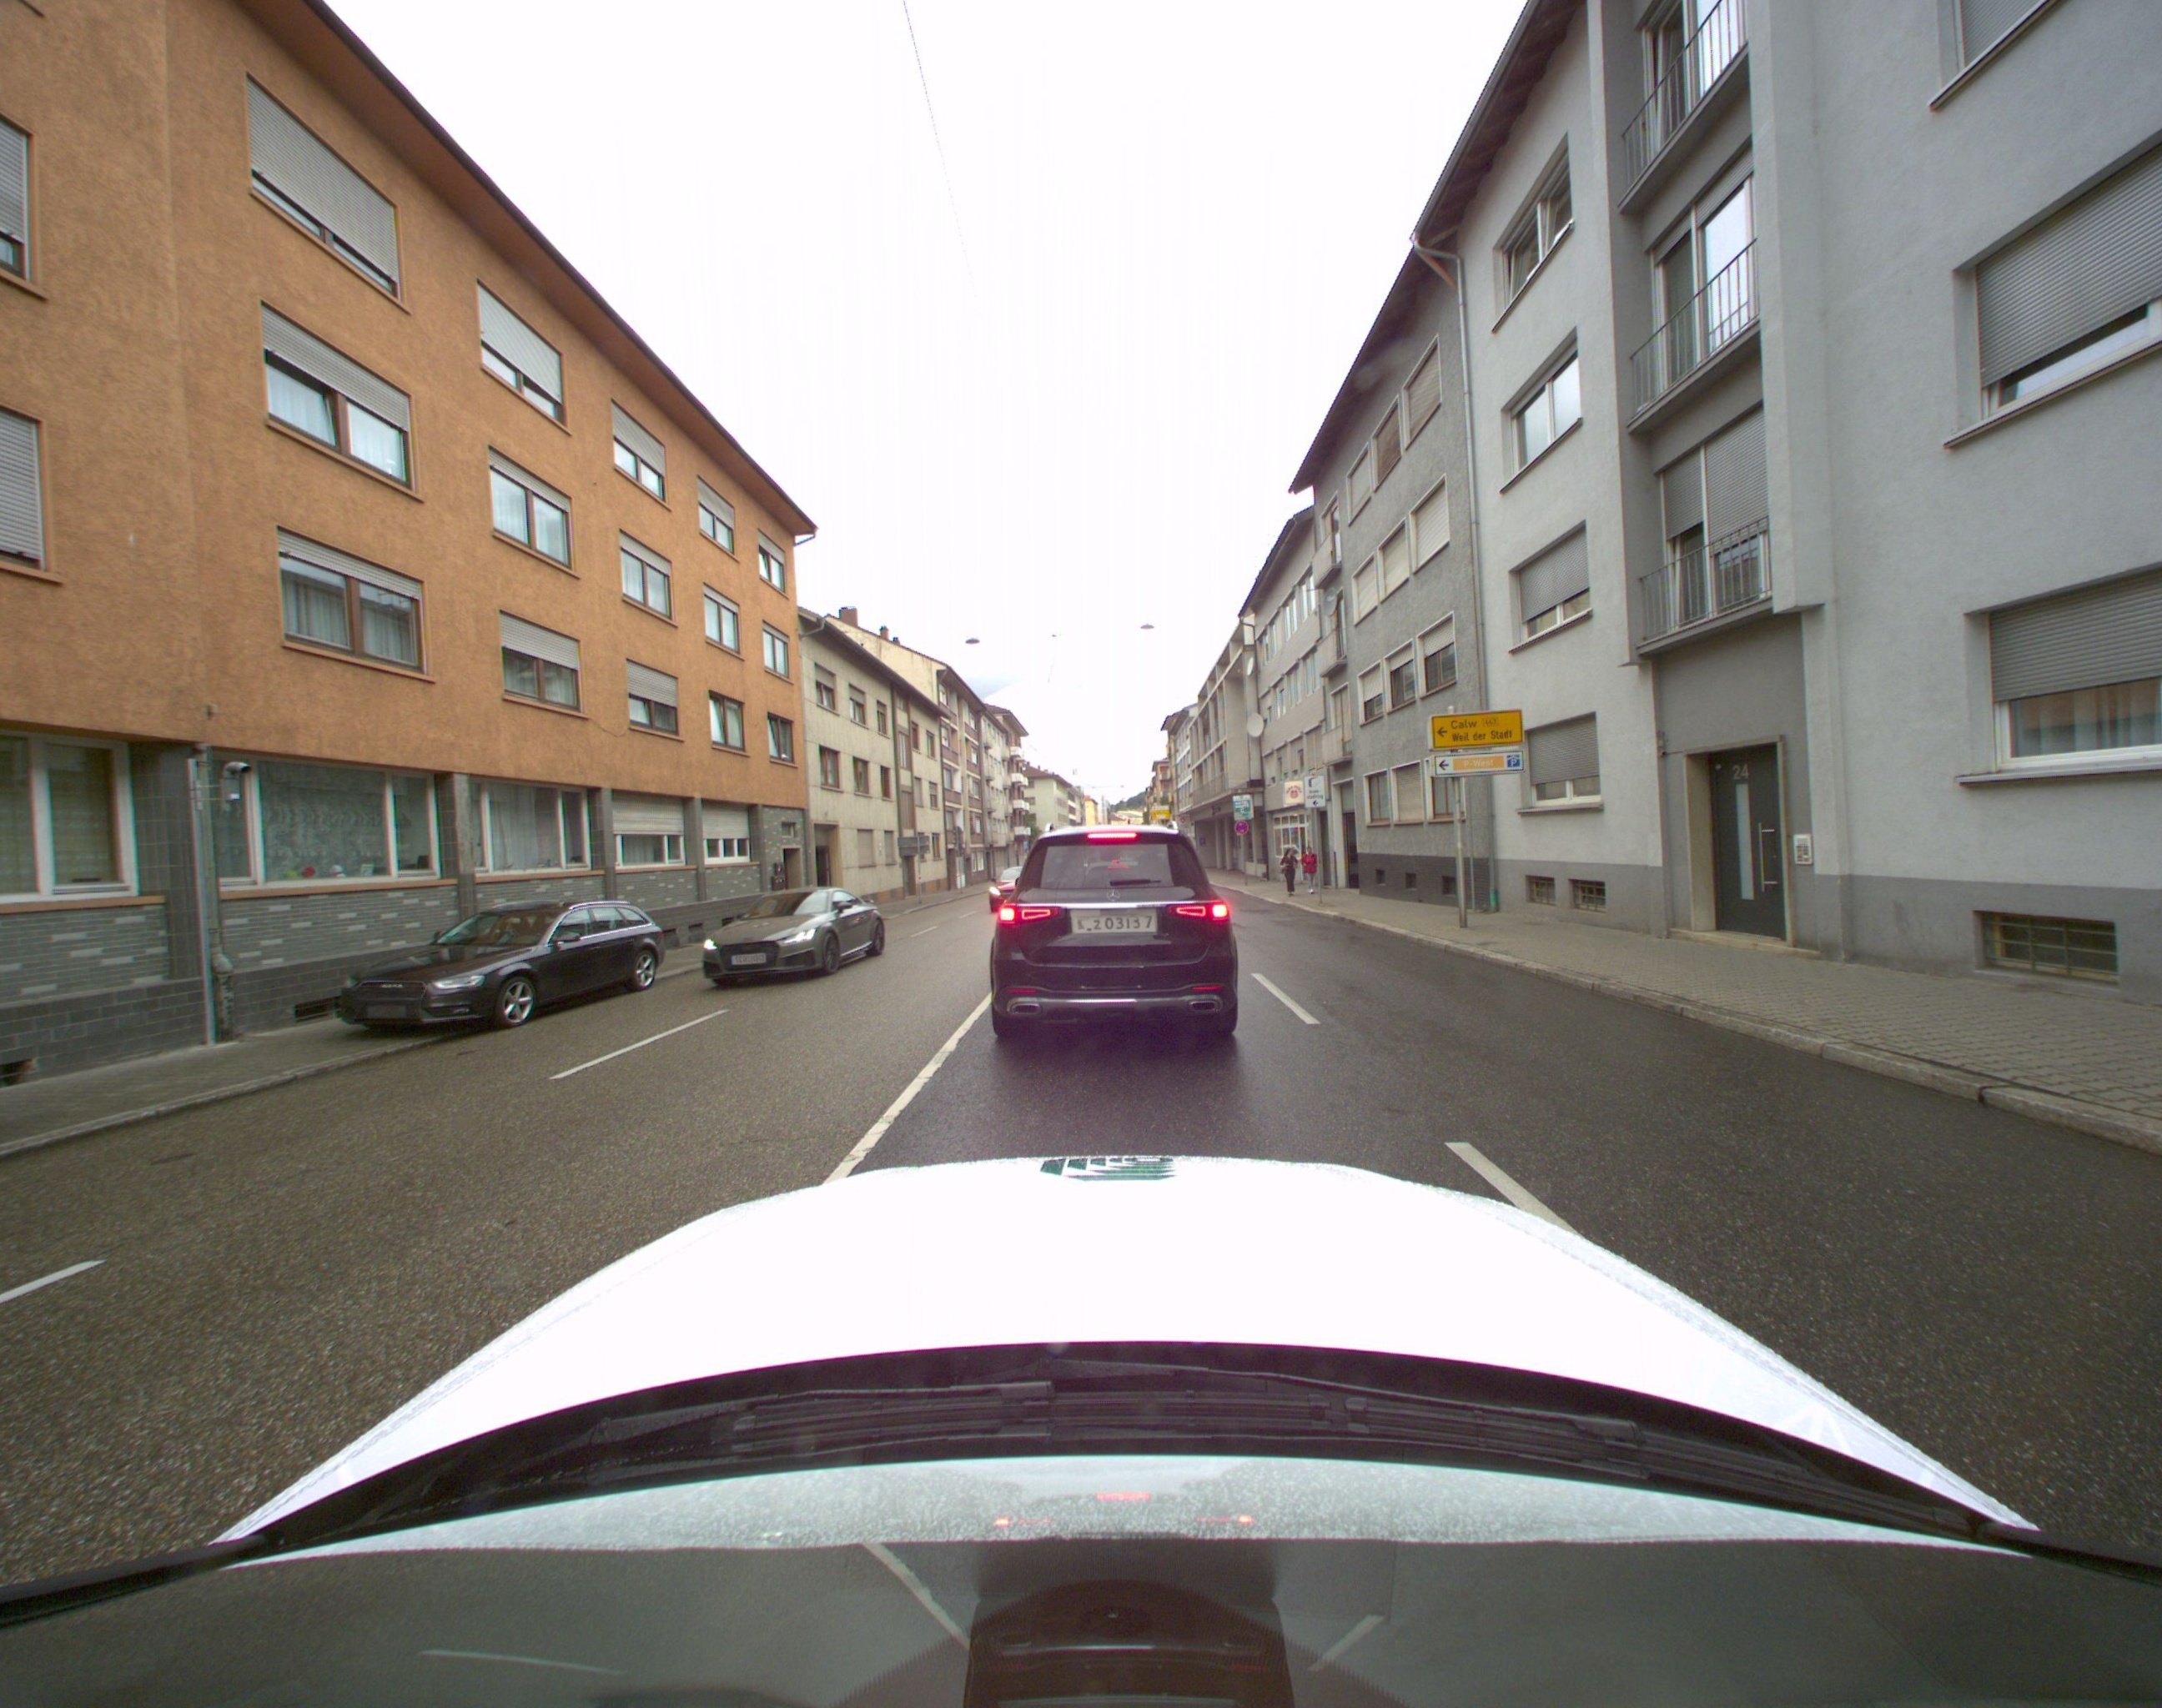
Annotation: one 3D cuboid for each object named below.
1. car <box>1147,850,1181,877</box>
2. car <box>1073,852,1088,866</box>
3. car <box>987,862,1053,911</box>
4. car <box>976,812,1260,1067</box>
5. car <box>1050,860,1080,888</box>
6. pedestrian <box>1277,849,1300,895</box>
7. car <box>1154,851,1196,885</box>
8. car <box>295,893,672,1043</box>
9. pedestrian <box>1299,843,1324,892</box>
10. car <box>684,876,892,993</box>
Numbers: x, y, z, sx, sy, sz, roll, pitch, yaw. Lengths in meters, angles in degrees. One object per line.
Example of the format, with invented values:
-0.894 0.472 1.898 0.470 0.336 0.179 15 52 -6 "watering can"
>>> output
5.727 0.654 56.809 1.934 1.775 4.746 -1 0 1 "car"
0.002 0.602 104.090 1.642 1.576 4.127 -4 0 2 "car"
-1.995 1.035 27.805 1.718 1.390 4.341 -4 0 2 "car"
0.311 0.613 7.815 2.018 1.806 4.001 0 0 1 "car"
-1.039 1.327 55.345 1.727 1.575 4.012 -6 0 1 "car"
6.934 0.596 27.179 0.504 1.500 0.562 -5 0 1 "pedestrian"
4.817 0.695 42.159 1.760 1.580 4.002 -2 0 2 "car"
-7.745 1.369 11.272 1.789 1.438 4.528 0 0 1 "car"
7.657 0.453 27.096 0.558 1.578 0.526 -5 0 1 "pedestrian"
-4.572 1.188 13.408 1.761 1.346 3.890 -6 0 2 "car"
